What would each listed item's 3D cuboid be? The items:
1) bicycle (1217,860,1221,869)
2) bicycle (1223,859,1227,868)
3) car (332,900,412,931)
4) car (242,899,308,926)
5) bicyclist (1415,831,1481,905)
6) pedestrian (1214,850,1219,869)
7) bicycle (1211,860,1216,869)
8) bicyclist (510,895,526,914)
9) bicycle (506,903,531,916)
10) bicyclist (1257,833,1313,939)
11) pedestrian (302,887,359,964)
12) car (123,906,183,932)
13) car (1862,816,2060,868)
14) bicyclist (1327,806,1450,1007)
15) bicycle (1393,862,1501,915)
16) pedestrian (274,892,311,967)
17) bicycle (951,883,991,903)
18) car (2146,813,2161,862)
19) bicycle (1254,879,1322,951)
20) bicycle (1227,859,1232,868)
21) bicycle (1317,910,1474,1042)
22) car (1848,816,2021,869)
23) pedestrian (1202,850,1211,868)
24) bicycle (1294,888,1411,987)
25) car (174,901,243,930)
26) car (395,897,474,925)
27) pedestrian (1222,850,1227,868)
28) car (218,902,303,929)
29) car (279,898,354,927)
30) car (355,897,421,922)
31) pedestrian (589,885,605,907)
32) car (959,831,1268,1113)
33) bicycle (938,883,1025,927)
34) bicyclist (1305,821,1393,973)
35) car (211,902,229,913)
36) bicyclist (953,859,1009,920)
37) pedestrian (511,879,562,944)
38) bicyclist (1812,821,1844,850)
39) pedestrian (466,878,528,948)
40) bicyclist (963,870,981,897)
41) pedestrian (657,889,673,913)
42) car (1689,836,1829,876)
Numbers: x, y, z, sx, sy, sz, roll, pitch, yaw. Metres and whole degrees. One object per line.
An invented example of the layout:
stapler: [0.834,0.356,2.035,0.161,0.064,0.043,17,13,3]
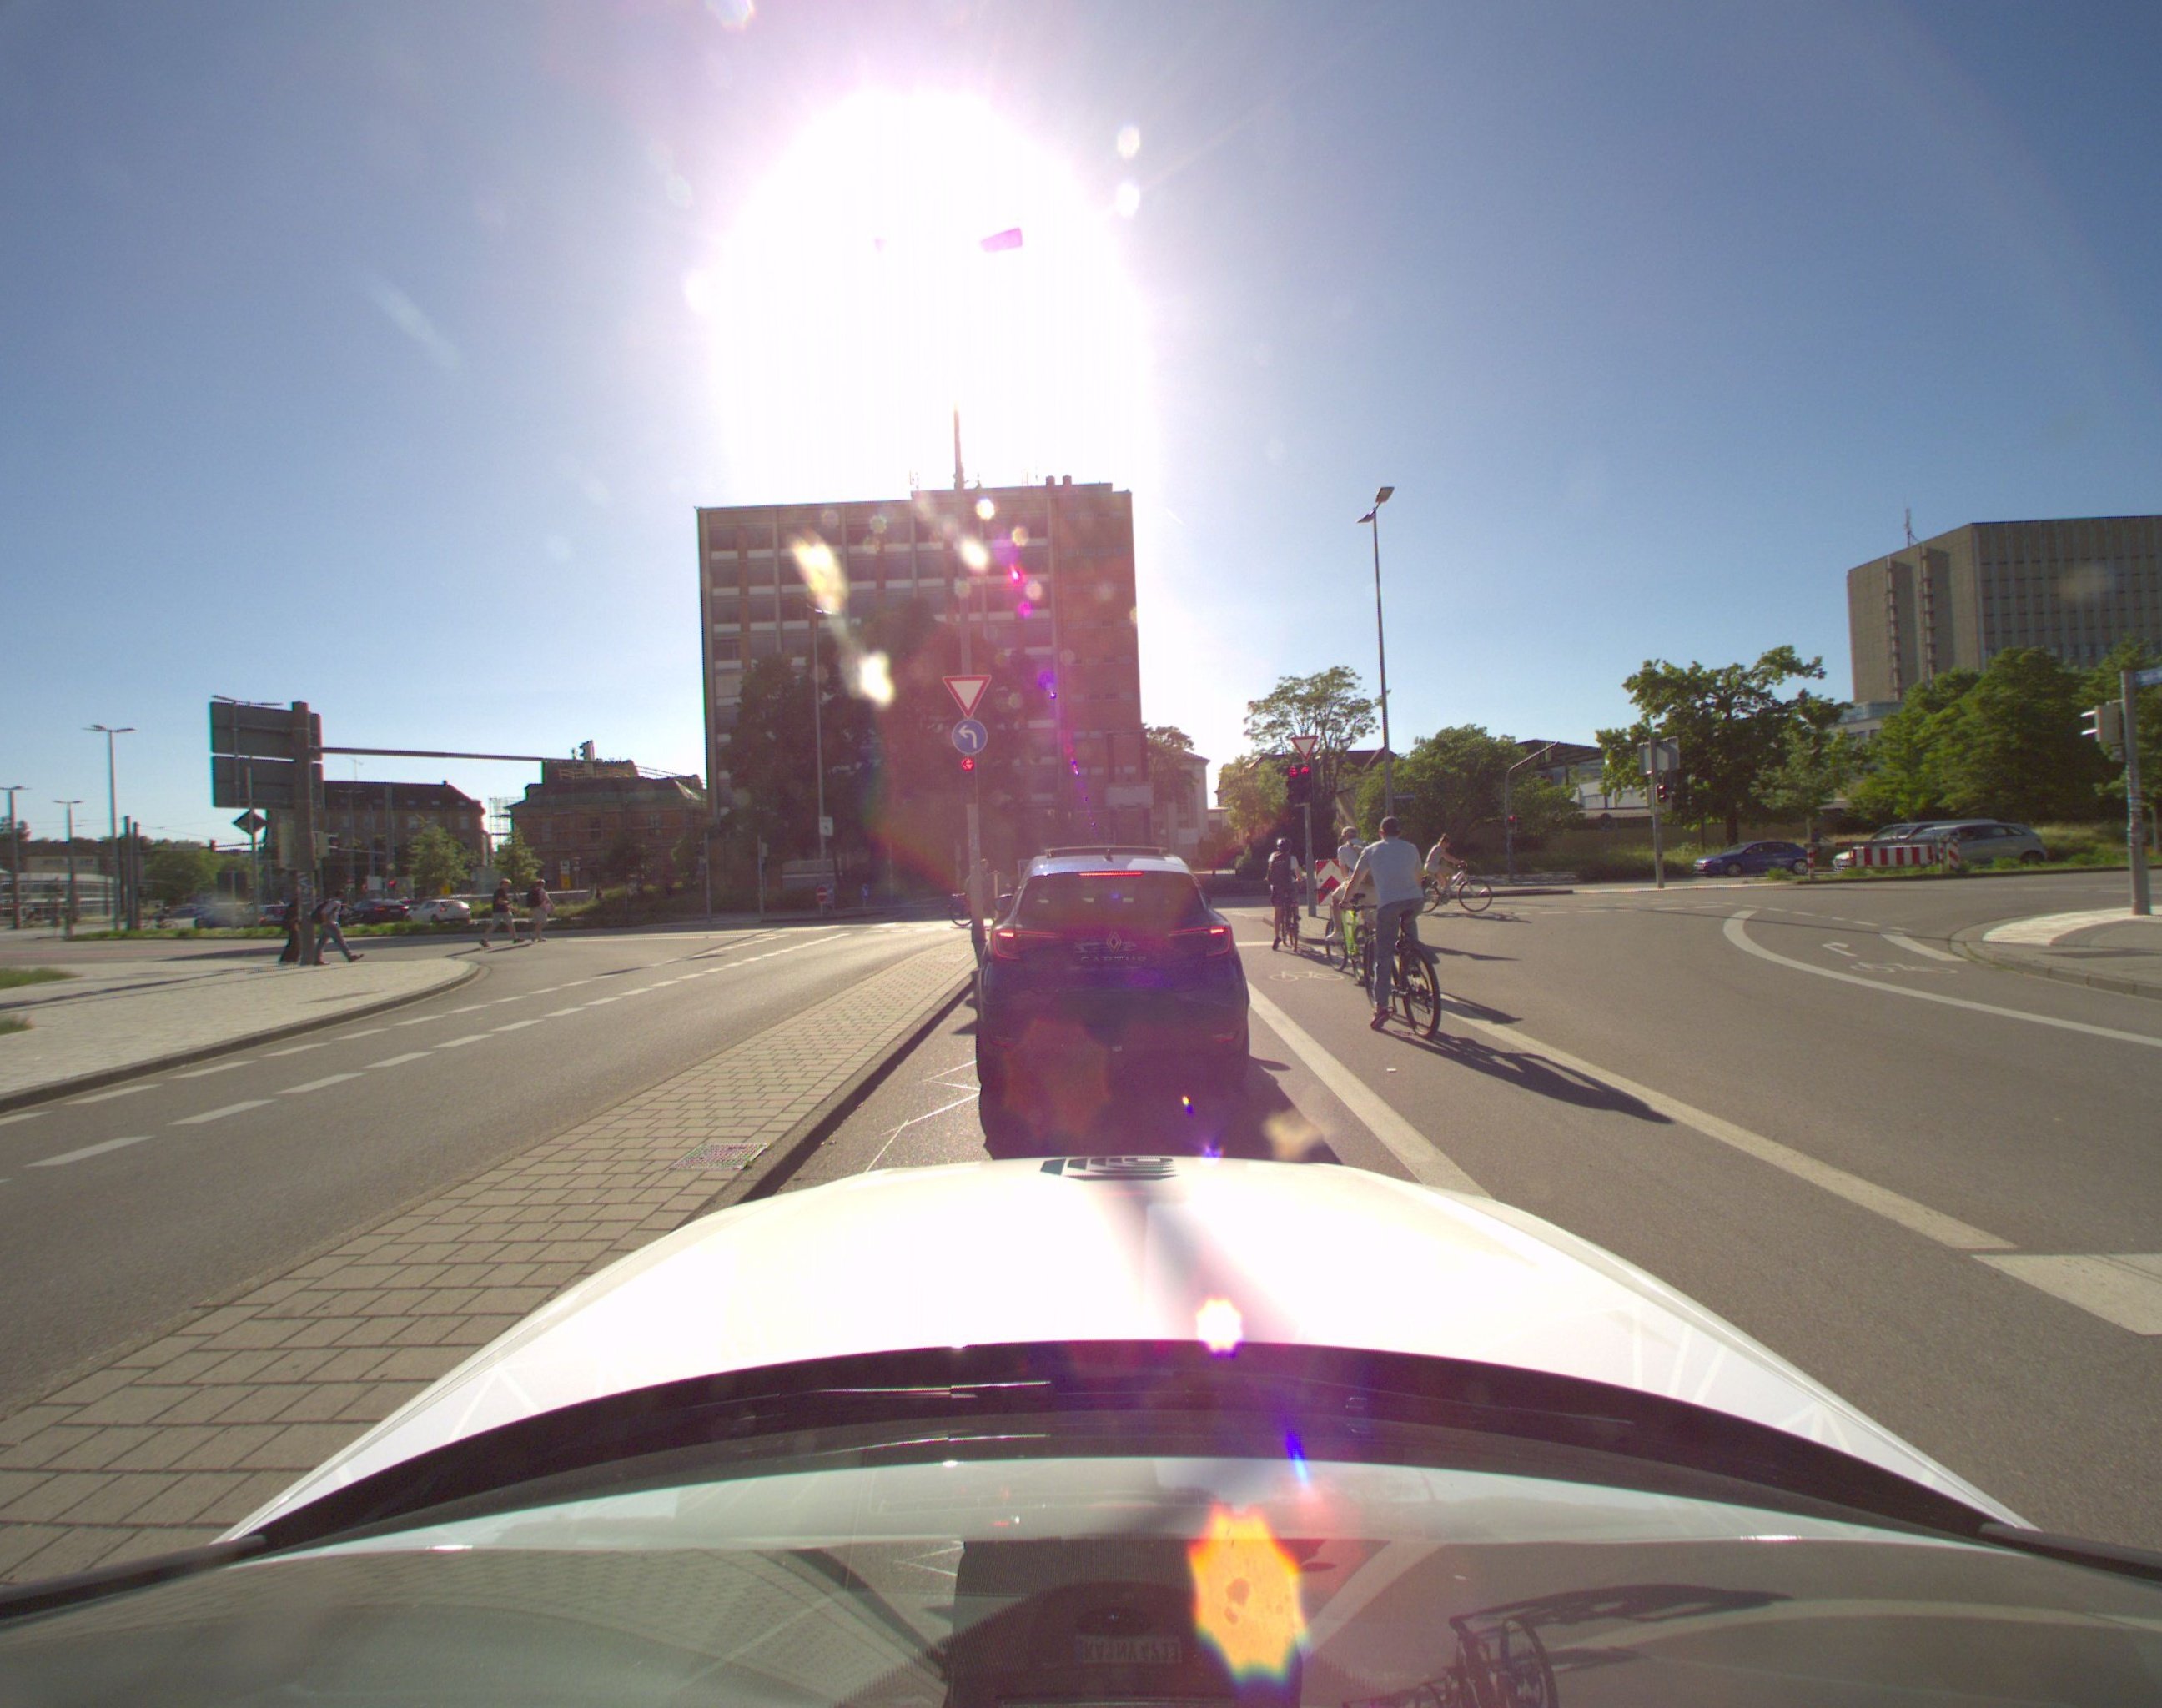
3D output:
bicycle: [15.870,1.226,93.821,0.403,0.973,1.686,0,-1,6]
bicycle: [16.648,1.079,94.171,0.403,0.973,1.686,0,-1,6]
car: [-42.575,3.685,48.894,4.334,1.632,1.854,-3,-1,23]
car: [-53.819,3.924,54.370,4.331,1.632,1.855,-3,-1,27]
bicyclist: [7.970,0.298,17.743,1.062,1.500,0.743,-4,-1,9]
pedestrian: [15.097,0.601,90.856,0.473,2.014,0.524,-2,-1,8]
bicycle: [15.252,1.231,93.879,0.403,0.973,1.686,0,-1,6]
bicyclist: [-43.796,3.933,63.375,0.928,1.429,0.602,-3,-1,23]
bicycle: [-43.777,4.301,63.375,2.057,0.964,0.602,-3,-1,24]
bicyclist: [3.237,0.498,12.985,0.722,1.629,0.970,0,-1,6]
pedestrian: [-17.448,1.664,18.955,0.909,1.690,0.830,-2,-4,-40]
car: [-64.569,4.492,56.629,4.331,1.632,1.856,-3,-1,29]
car: [28.138,-0.362,26.166,4.025,1.408,1.872,-2,-1,8]
bicyclist: [2.711,0.443,7.294,0.748,1.668,1.017,0,-1,3]
bicycle: [7.935,0.735,17.732,1.972,0.995,0.743,-4,-1,10]
pedestrian: [-19.015,1.811,19.644,0.600,1.729,0.572,-2,-1,-45]
bicycle: [-5.930,2.112,44.024,2.016,0.964,0.593,-2,-1,-25]
car: [36.984,-0.627,25.348,4.711,1.584,2.002,-2,-1,4]
bicycle: [3.246,0.925,12.932,0.735,0.995,2.177,0,-1,6]
bicycle: [17.182,1.075,94.172,0.403,0.973,1.686,0,-1,6]
bicycle: [2.719,1.012,7.294,0.737,0.896,1.980,0,-1,3]
car: [35.249,-0.443,33.760,4.856,2.107,2.002,0,-1,4]
pedestrian: [14.374,0.523,93.215,0.855,2.014,0.469,-2,-1,7]
bicycle: [3.213,0.952,9.850,0.657,1.003,1.967,0,-1,-4]
car: [-55.164,3.910,51.467,4.331,1.632,1.855,-3,-1,27]
car: [-36.398,3.200,45.850,3.803,1.435,1.752,-2,-1,21]
pedestrian: [16.209,0.604,92.181,0.473,2.014,0.469,-2,-1,8]
car: [-49.017,3.680,48.657,4.841,1.388,1.854,-3,-1,23]
car: [-48.462,3.687,51.644,4.334,1.632,1.854,-3,-1,23]
car: [-50.860,4.051,59.732,4.779,1.632,1.855,-2,-1,25]
pedestrian: [-35.608,3.078,59.902,0.852,1.571,0.563,-3,-1,28]
car: [0.202,0.706,6.800,1.798,1.632,3.999,-1,0,0]
bicycle: [-2.480,1.269,20.326,1.970,0.918,0.689,-4,-1,13]
bicyclist: [3.214,0.492,9.848,0.644,1.739,1.065,0,-1,-4]
car: [-141.651,8.829,133.985,3.949,1.662,2.012,-3,-1,44]
bicyclist: [-2.489,0.886,20.331,1.116,1.422,0.689,-4,-1,12]
pedestrian: [-15.001,1.581,22.459,0.785,1.690,0.793,-6,-3,20]
bicyclist: [35.830,-0.907,39.088,0.823,1.316,0.696,-5,1,0]
pedestrian: [-15.999,1.604,22.330,0.697,1.800,1.108,-5,-3,17]
bicyclist: [-5.892,1.596,44.051,0.741,1.441,0.593,-2,-1,-25]
pedestrian: [-28.827,3.270,56.481,0.730,1.603,0.602,-3,-1,23]
car: [28.215,0.098,34.007,4.140,1.435,1.747,-2,-1,8]
